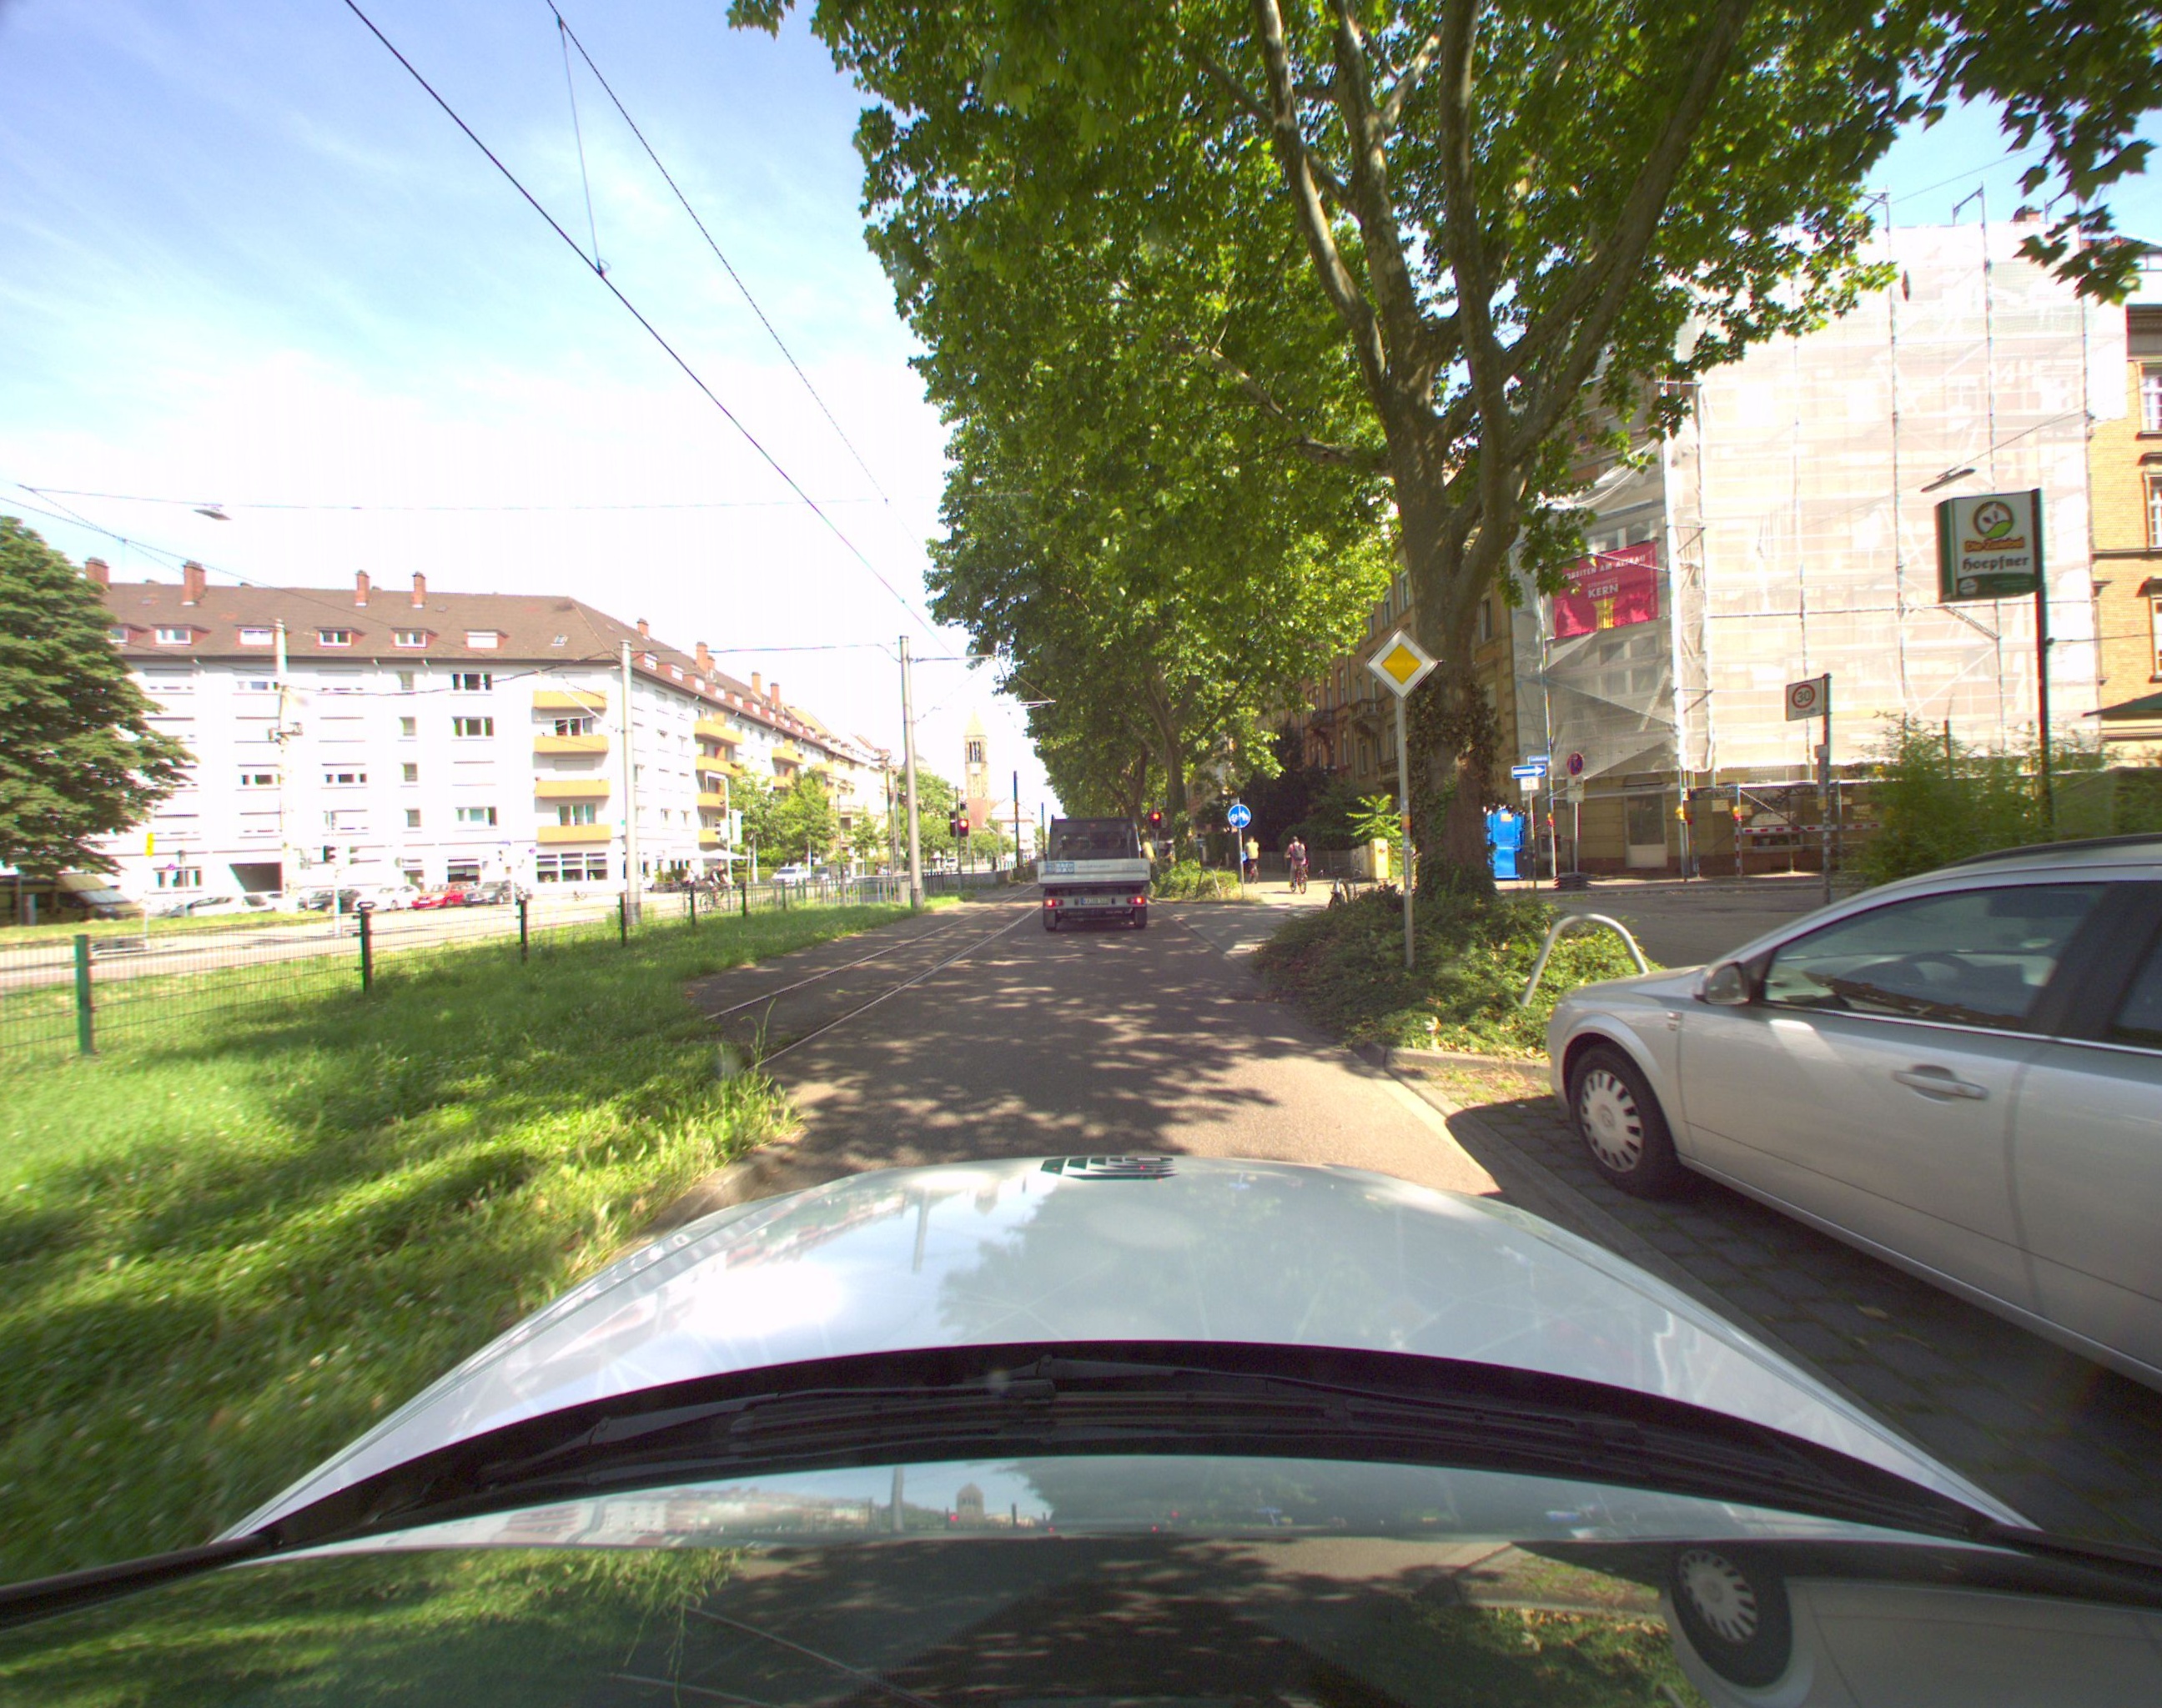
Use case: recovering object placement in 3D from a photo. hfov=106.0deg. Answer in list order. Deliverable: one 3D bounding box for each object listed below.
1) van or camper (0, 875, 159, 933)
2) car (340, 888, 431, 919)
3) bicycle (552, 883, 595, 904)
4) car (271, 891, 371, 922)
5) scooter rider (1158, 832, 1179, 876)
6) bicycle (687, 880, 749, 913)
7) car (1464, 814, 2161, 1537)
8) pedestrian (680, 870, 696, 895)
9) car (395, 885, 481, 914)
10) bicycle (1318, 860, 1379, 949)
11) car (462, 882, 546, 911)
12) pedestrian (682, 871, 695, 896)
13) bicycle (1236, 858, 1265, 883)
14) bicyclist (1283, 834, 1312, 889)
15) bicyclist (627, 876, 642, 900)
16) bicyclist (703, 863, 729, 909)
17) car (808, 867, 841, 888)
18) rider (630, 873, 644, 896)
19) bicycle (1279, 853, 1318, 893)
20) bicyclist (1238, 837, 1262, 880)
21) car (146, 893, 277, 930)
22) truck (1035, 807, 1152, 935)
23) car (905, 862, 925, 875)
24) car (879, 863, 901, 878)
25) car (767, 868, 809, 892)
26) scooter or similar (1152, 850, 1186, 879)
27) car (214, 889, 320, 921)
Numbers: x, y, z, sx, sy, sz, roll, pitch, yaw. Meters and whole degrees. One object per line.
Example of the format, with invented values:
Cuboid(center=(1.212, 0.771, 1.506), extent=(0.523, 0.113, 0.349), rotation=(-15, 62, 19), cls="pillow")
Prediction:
Cuboid(center=(-46.718, 2.272, 37.208), extent=(5.763, 2.329, 2.235), rotation=(-3, 0, -13), cls="van or camper")
Cuboid(center=(-39.675, 2.787, 46.616), extent=(1.930, 1.406, 4.156), rotation=(-3, 0, -7), cls="car")
Cuboid(center=(-30.521, 2.358, 49.031), extent=(0.909, 1.137, 2.805), rotation=(-3, 0, -3), cls="bicycle")
Cuboid(center=(-42.202, 2.879, 45.355), extent=(1.930, 1.406, 4.156), rotation=(-3, 0, -7), cls="car")
Cuboid(center=(3.819, -0.009, 35.416), extent=(0.667, 1.867, 0.662), rotation=(-3, 0, -11), cls="scooter rider")
Cuboid(center=(-13.129, 1.524, 29.488), extent=(1.933, 1.049, 0.527), rotation=(-3, 0, -33), cls="bicycle")
Cuboid(center=(3.145, 0.651, 2.256), extent=(1.829, 1.508, 4.487), rotation=(-3, 0, -3), cls="car")
Cuboid(center=(-25.441, 1.816, 52.761), extent=(0.861, 1.572, 0.685), rotation=(-2, 0, -24), cls="pedestrian")
Cuboid(center=(-36.896, 2.578, 46.849), extent=(1.930, 1.406, 4.156), rotation=(-3, 0, -7), cls="car")
Cuboid(center=(3.771, 0.672, 11.404), extent=(0.417, 1.105, 1.627), rotation=(-3, 0, 31), cls="bicycle")
Cuboid(center=(-33.552, 2.423, 47.498), extent=(1.830, 1.376, 4.635), rotation=(-3, 0, -5), cls="car")
Cuboid(center=(-25.168, 1.883, 52.191), extent=(0.691, 1.572, 0.542), rotation=(-2, 0, -24), cls="pedestrian")
Cuboid(center=(6.401, 0.605, 30.800), extent=(0.672, 0.881, 2.164), rotation=(-3, 0, 2), cls="bicycle")
Cuboid(center=(6.409, 0.211, 24.142), extent=(0.635, 1.573, 0.580), rotation=(-3, 0, 1), cls="bicyclist")
Cuboid(center=(-27.950, 2.137, 50.983), extent=(0.624, 1.423, 0.587), rotation=(-2, 0, -16), cls="bicyclist")
Cuboid(center=(-13.203, 1.153, 29.450), extent=(0.697, 1.623, 0.618), rotation=(-3, 0, -32), cls="bicyclist")
Cuboid(center=(-21.304, 1.942, 67.782), extent=(1.768, 1.498, 3.992), rotation=(-4, 0, -5), cls="car")
Cuboid(center=(-28.115, 1.936, 51.576), extent=(0.624, 1.423, 0.587), rotation=(-2, 0, -16), cls="rider")
Cuboid(center=(6.471, 0.546, 24.328), extent=(0.563, 1.112, 2.311), rotation=(-3, 0, 2), cls="bicycle")
Cuboid(center=(6.370, 0.169, 30.683), extent=(0.678, 1.563, 0.777), rotation=(-3, 0, 1), cls="bicyclist")
Cuboid(center=(-40.945, 2.663, 38.454), extent=(3.750, 1.406, 1.823), rotation=(-3, 0, -17), cls="car")
Cuboid(center=(0.246, 0.316, 17.202), extent=(2.131, 2.319, 4.401), rotation=(-1, 0, 0), cls="truck")
Cuboid(center=(-20.943, 1.818, 102.978), extent=(1.765, 1.498, 3.998), rotation=(-3, 0, -1), cls="car")
Cuboid(center=(-20.936, 1.787, 89.440), extent=(1.768, 1.498, 3.992), rotation=(-3, 0, -5), cls="car")
Cuboid(center=(-21.232, 1.854, 59.120), extent=(1.768, 1.498, 3.992), rotation=(-4, 0, -5), cls="car")
Cuboid(center=(3.813, 0.451, 35.407), extent=(1.267, 1.204, 0.655), rotation=(-3, 0, -12), cls="scooter or similar")
Cuboid(center=(-44.980, 2.789, 45.141), extent=(1.930, 1.406, 4.156), rotation=(-3, 0, -7), cls="car")
